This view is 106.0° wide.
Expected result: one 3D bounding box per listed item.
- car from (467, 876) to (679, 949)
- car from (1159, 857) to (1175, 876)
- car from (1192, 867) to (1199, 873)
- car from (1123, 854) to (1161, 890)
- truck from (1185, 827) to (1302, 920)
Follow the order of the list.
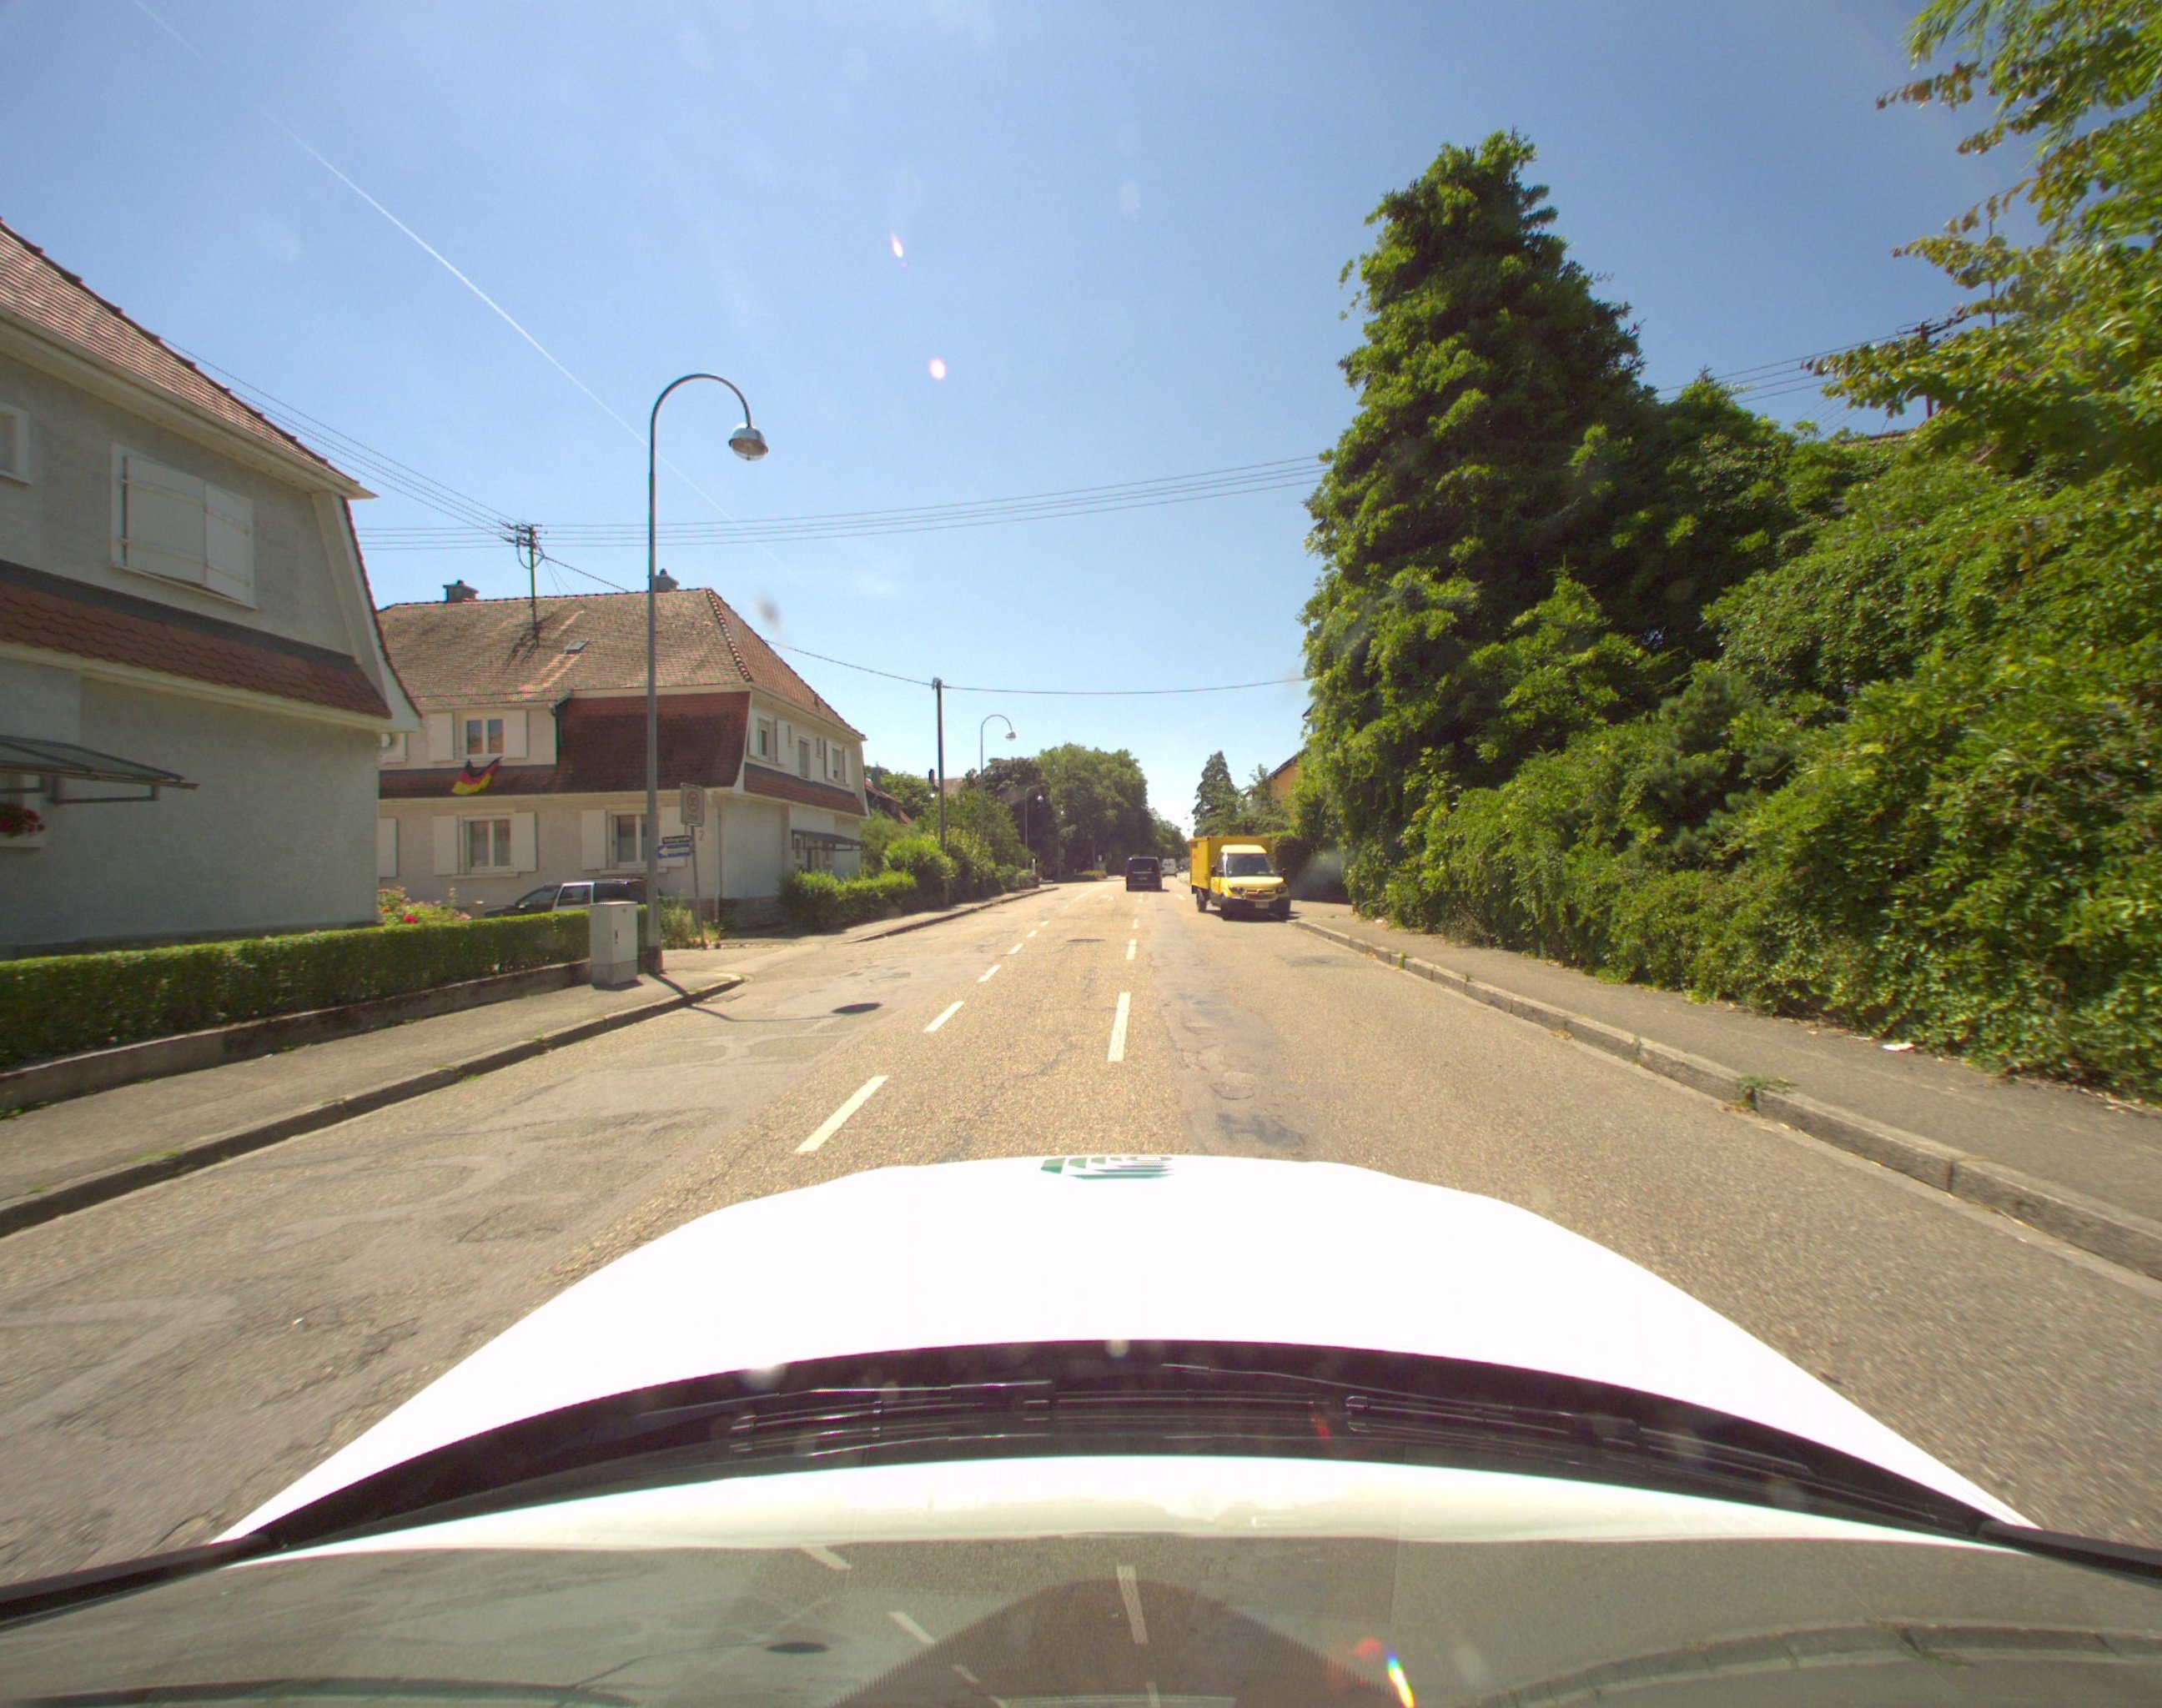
[{"bbox_3d":[-11.822,1.337,19.149,3.780,1.424,1.774,-3,0,-1],"label":"car"},{"bbox_3d":[12.467,1.760,118.149,2.108,2.678,5.674,0,-1,8],"label":"car"},{"bbox_3d":[31.699,4.449,224.719,1.848,1.643,4.007,0,-1,6],"label":"car"},{"bbox_3d":[3.366,0.968,44.672,1.984,1.893,4.006,0,-1,5],"label":"car"},{"bbox_3d":[4.443,0.519,23.396,2.008,2.309,6.172,1,0,-1],"label":"truck"}]
